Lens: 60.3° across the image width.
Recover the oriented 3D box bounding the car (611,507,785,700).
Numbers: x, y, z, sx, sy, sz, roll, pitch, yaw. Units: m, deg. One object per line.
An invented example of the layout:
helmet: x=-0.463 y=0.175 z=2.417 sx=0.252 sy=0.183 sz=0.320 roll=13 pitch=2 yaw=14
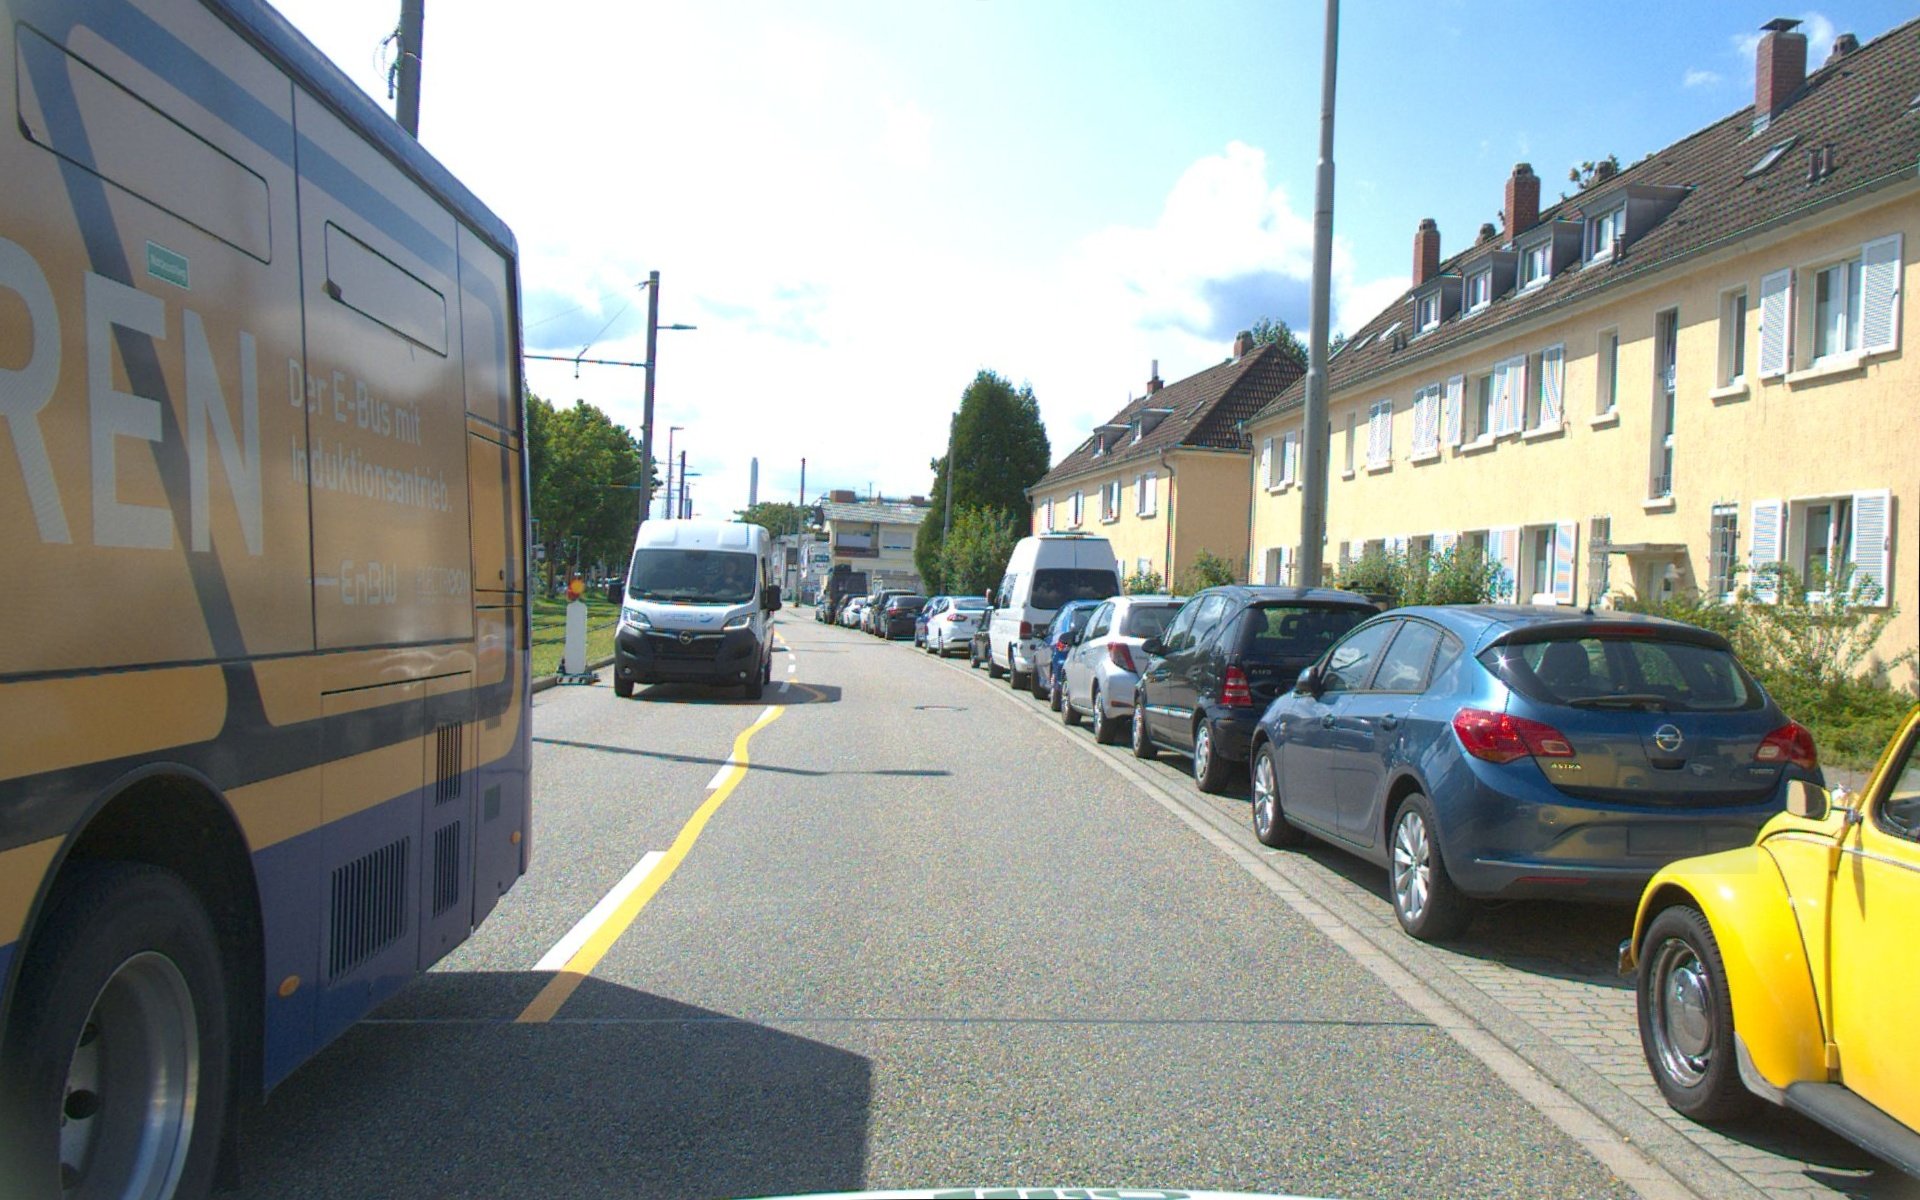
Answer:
car: x=-3.777 y=0.038 z=24.803 sx=2.061 sy=2.486 sz=5.566 roll=2 pitch=0 yaw=-5

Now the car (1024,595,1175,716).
car: x=1.854 y=0.705 z=23.011 sx=1.506 sy=1.470 sz=3.734 roll=3 pitch=0 yaw=-4

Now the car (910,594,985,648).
car: x=-0.397 y=0.560 z=46.525 sx=1.590 sy=1.442 sz=3.993 roll=1 pitch=0 yaw=-8

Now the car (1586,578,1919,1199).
car: x=2.937 y=0.713 z=3.555 sx=1.603 sy=1.508 sz=3.930 roll=0 pitch=1 yaw=-2

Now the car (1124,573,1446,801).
car: x=2.614 y=0.633 z=14.226 sx=1.604 sy=1.630 sz=3.927 roll=3 pitch=0 yaw=-6

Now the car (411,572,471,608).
car: x=-22.657 y=-0.434 z=72.337 sx=1.696 sy=1.531 sz=4.560 roll=1 pitch=0 yaw=-7

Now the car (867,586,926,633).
car: x=-2.340 y=0.320 z=60.398 sx=1.731 sy=1.672 sz=3.993 roll=1 pitch=0 yaw=-8

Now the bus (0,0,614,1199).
bus: x=-2.637 y=-0.315 z=1.238 sx=2.583 sy=3.472 sz=12.243 roll=1 pitch=0 yaw=-2

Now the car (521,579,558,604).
car: x=-27.415 y=-0.549 z=107.929 sx=1.844 sy=1.580 sz=4.389 roll=2 pitch=0 yaw=-9

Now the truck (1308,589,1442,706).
truck: x=6.534 y=0.726 z=26.215 sx=1.320 sy=1.718 sz=2.439 roll=2 pitch=0 yaw=-4

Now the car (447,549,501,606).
car: x=-24.448 y=-1.113 z=83.401 sx=2.037 sy=2.769 sz=6.981 roll=1 pitch=0 yaw=-12

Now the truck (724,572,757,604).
truck: x=-25.409 y=-1.317 z=191.211 sx=3.163 sy=3.461 sz=11.326 roll=2 pitch=0 yaw=-10

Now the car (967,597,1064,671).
car: x=1.078 y=0.652 z=33.227 sx=1.316 sy=1.364 sz=3.281 roll=3 pitch=-1 yaw=-9

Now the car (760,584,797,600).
car: x=-23.229 y=-1.032 z=211.767 sx=4.563 sy=1.854 sz=1.830 roll=2 pitch=0 yaw=-14

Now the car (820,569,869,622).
car: x=-5.806 y=-0.242 z=82.509 sx=1.923 sy=2.522 sz=6.047 roll=1 pitch=0 yaw=-9

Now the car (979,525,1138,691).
car: x=1.562 y=0.117 z=28.366 sx=1.891 sy=2.524 sz=5.512 roll=1 pitch=0 yaw=-5

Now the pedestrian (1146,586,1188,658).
pedestrian: x=4.932 y=0.524 z=39.474 sx=0.837 sy=1.680 sz=0.636 roll=3 pitch=0 yaw=-3

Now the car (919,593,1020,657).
car: x=0.170 y=0.593 z=41.013 sx=1.765 sy=1.483 sz=4.755 roll=1 pitch=0 yaw=-9

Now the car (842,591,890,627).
car: x=-4.089 y=0.359 z=71.385 sx=1.731 sy=1.465 sz=3.993 roll=1 pitch=0 yaw=-8

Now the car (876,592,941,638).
car: x=-1.749 y=0.483 z=55.303 sx=1.731 sy=1.442 sz=3.993 roll=1 pitch=0 yaw=-8

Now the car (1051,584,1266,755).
car: x=2.079 y=0.675 z=18.384 sx=1.604 sy=1.630 sz=4.026 roll=3 pitch=0 yaw=-4

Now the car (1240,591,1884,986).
car: x=2.762 y=0.748 z=8.659 sx=1.604 sy=1.508 sz=4.121 roll=3 pitch=0 yaw=-4

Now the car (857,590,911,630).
car: x=-3.027 y=0.357 z=65.255 sx=1.731 sy=1.502 sz=3.993 roll=1 pitch=0 yaw=-8
